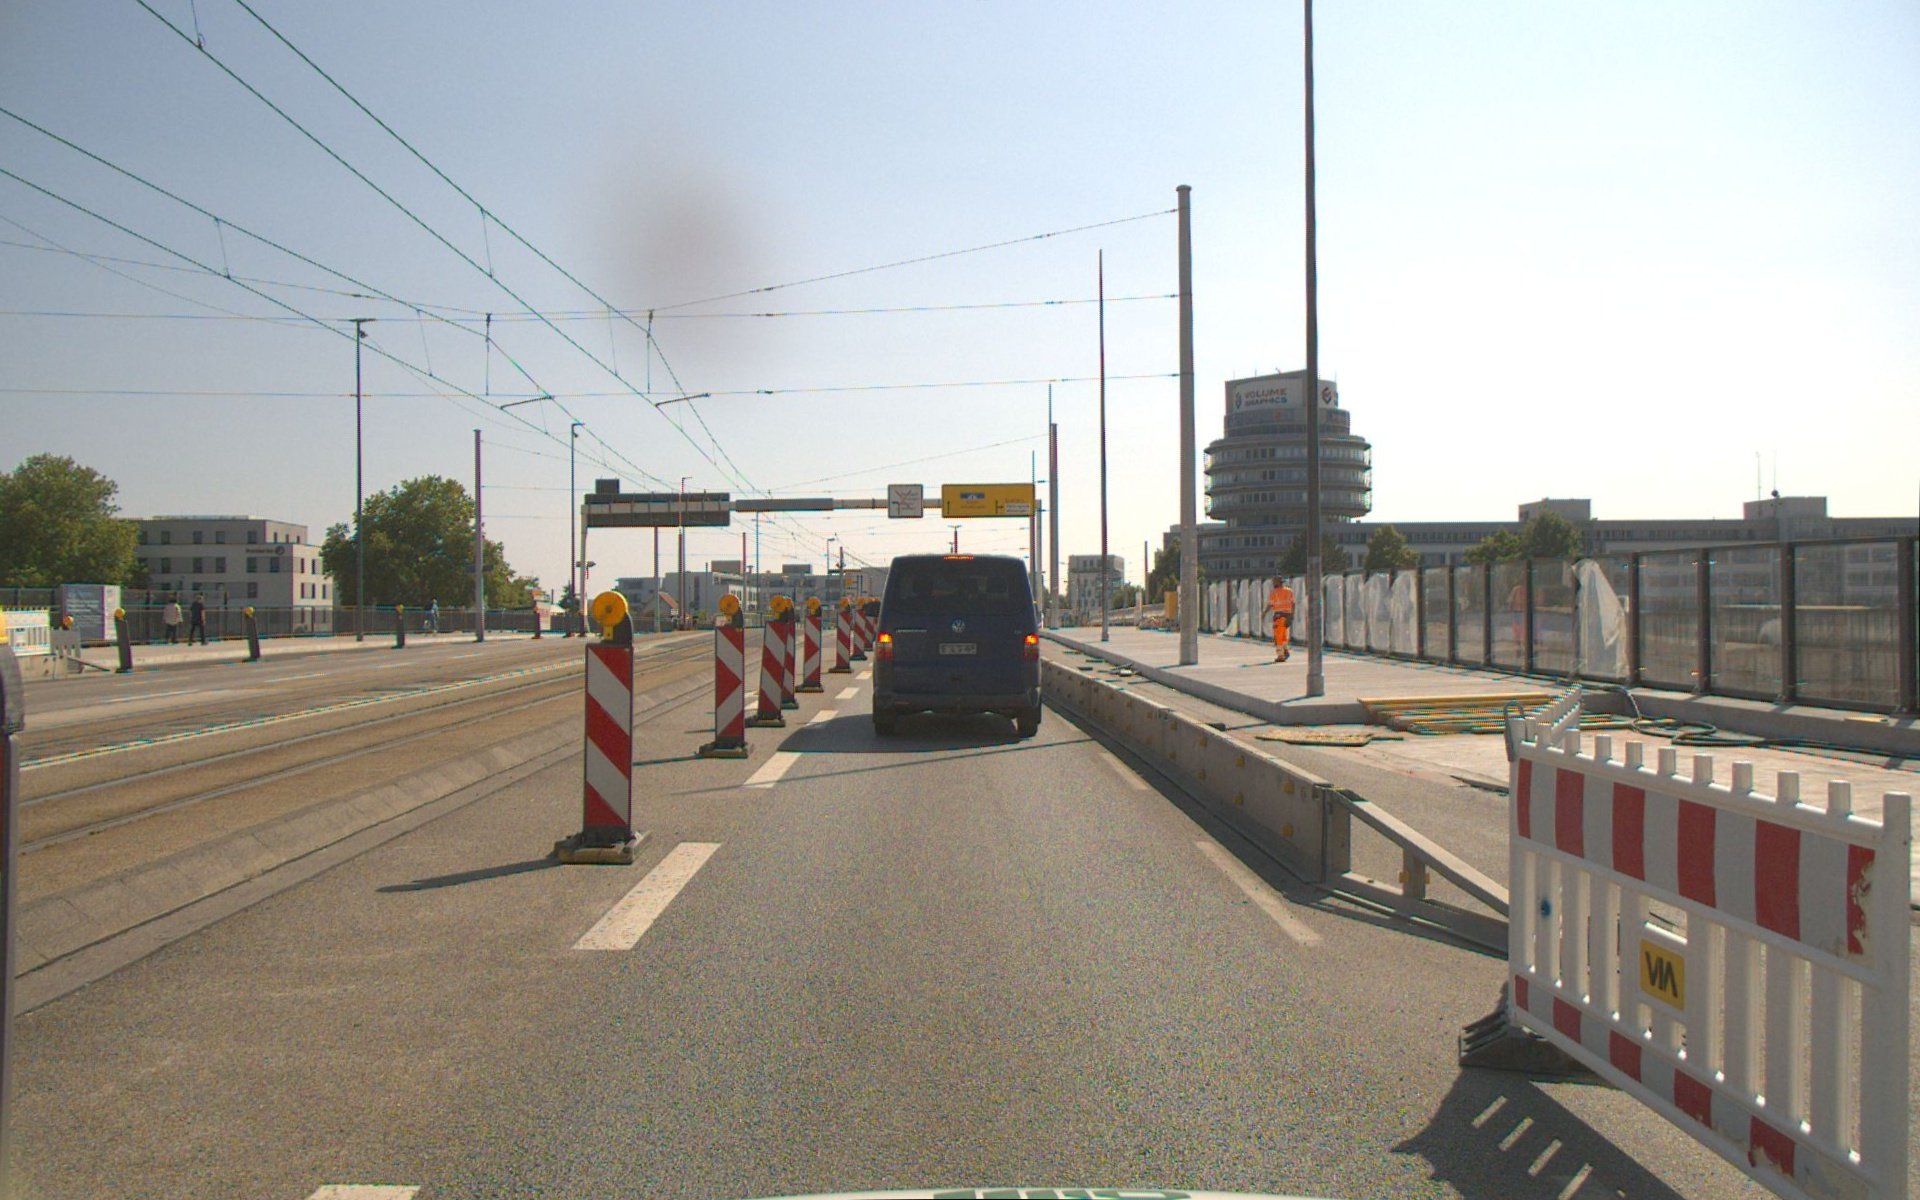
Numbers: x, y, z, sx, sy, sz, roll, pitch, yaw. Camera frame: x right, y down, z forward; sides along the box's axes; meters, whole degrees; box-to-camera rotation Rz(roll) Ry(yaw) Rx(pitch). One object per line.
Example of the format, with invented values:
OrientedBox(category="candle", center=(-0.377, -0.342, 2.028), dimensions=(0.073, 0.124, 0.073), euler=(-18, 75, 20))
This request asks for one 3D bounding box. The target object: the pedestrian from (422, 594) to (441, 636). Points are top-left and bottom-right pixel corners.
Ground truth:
OrientedBox(category="pedestrian", center=(-24.448, 0.701, 76.520), dimensions=(0.621, 1.926, 0.752), euler=(0, 0, -1))

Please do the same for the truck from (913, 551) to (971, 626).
OrientedBox(category="truck", center=(-0.858, -0.576, 76.565), dimensions=(2.410, 3.189, 11.214), euler=(-1, 1, -1))

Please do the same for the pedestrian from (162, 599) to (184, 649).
OrientedBox(category="pedestrian", center=(-26.857, 0.818, 56.456), dimensions=(0.485, 1.724, 0.474), euler=(1, -1, -1))

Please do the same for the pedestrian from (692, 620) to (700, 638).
OrientedBox(category="pedestrian", center=(-23.935, 2.617, 150.086), dimensions=(0.621, 1.626, 0.752), euler=(0, 0, -1))

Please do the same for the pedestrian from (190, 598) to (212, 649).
OrientedBox(category="pedestrian", center=(-25.986, 0.811, 56.618), dimensions=(0.485, 1.724, 0.474), euler=(1, -1, -1))

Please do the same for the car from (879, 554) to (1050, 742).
OrientedBox(category="car", center=(0.016, 0.477, 19.305), dimensions=(1.779, 1.939, 4.054), euler=(0, 1, -1))

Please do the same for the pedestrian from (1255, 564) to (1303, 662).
OrientedBox(category="pedestrian", center=(6.549, 0.264, 34.014), dimensions=(0.766, 1.969, 0.799), euler=(-2, -1, -1))
